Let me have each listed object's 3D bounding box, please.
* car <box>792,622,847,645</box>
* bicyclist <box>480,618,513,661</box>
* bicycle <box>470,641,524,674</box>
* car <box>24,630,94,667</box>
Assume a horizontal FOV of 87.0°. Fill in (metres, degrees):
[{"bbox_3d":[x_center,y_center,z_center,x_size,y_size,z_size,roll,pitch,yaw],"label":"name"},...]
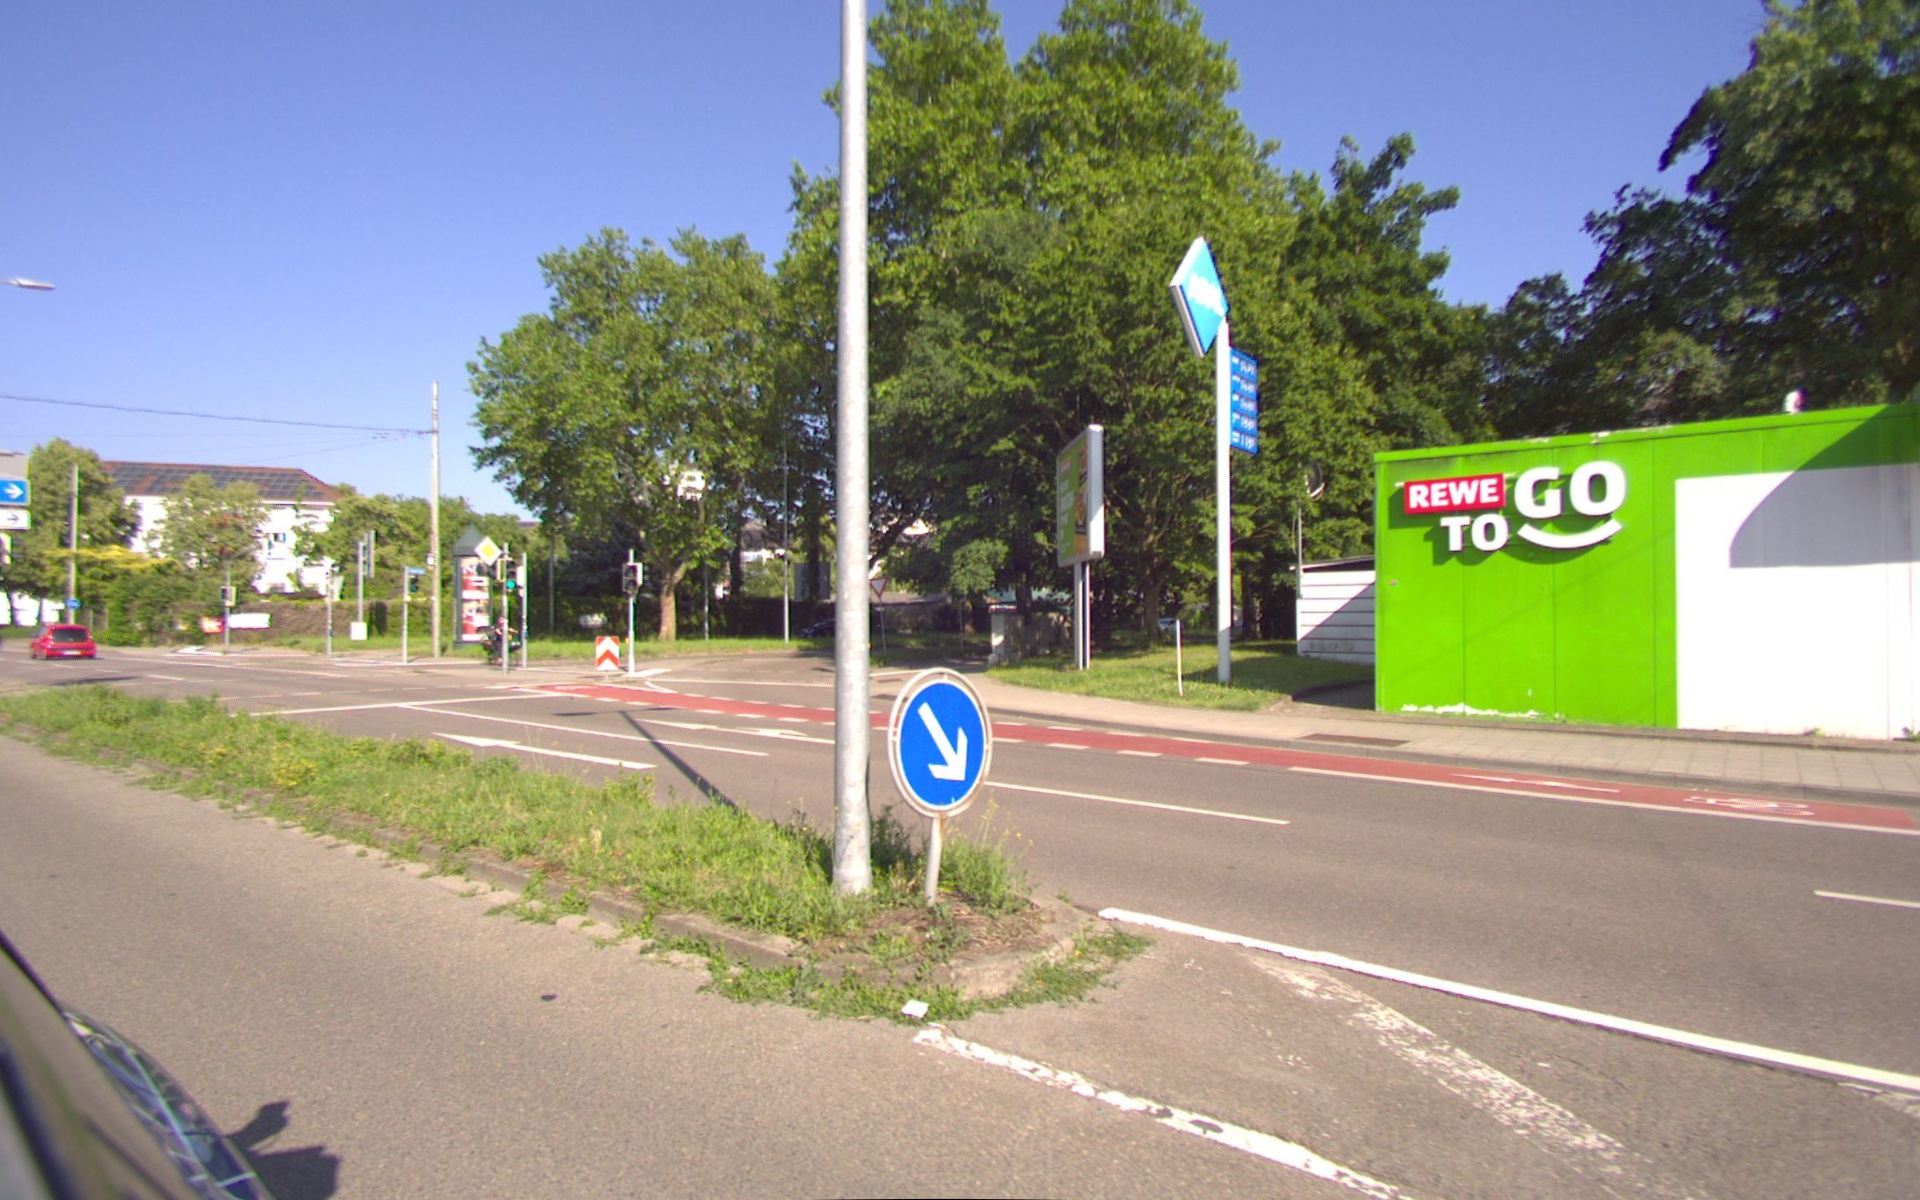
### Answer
[{"bbox_3d":[-9.305,2.183,67.051,1.509,1.317,3.375,-1,1,44],"label":"car"},{"bbox_3d":[-15.815,1.336,34.516,1.050,1.463,0.655,-1,-2,41],"label":"bicyclist"},{"bbox_3d":[-15.791,1.941,34.477,2.579,1.057,0.655,-1,-2,41],"label":"bicycle"},{"bbox_3d":[-36.117,1.917,40.559,3.329,1.427,1.558,-1,-2,39],"label":"car"}]
